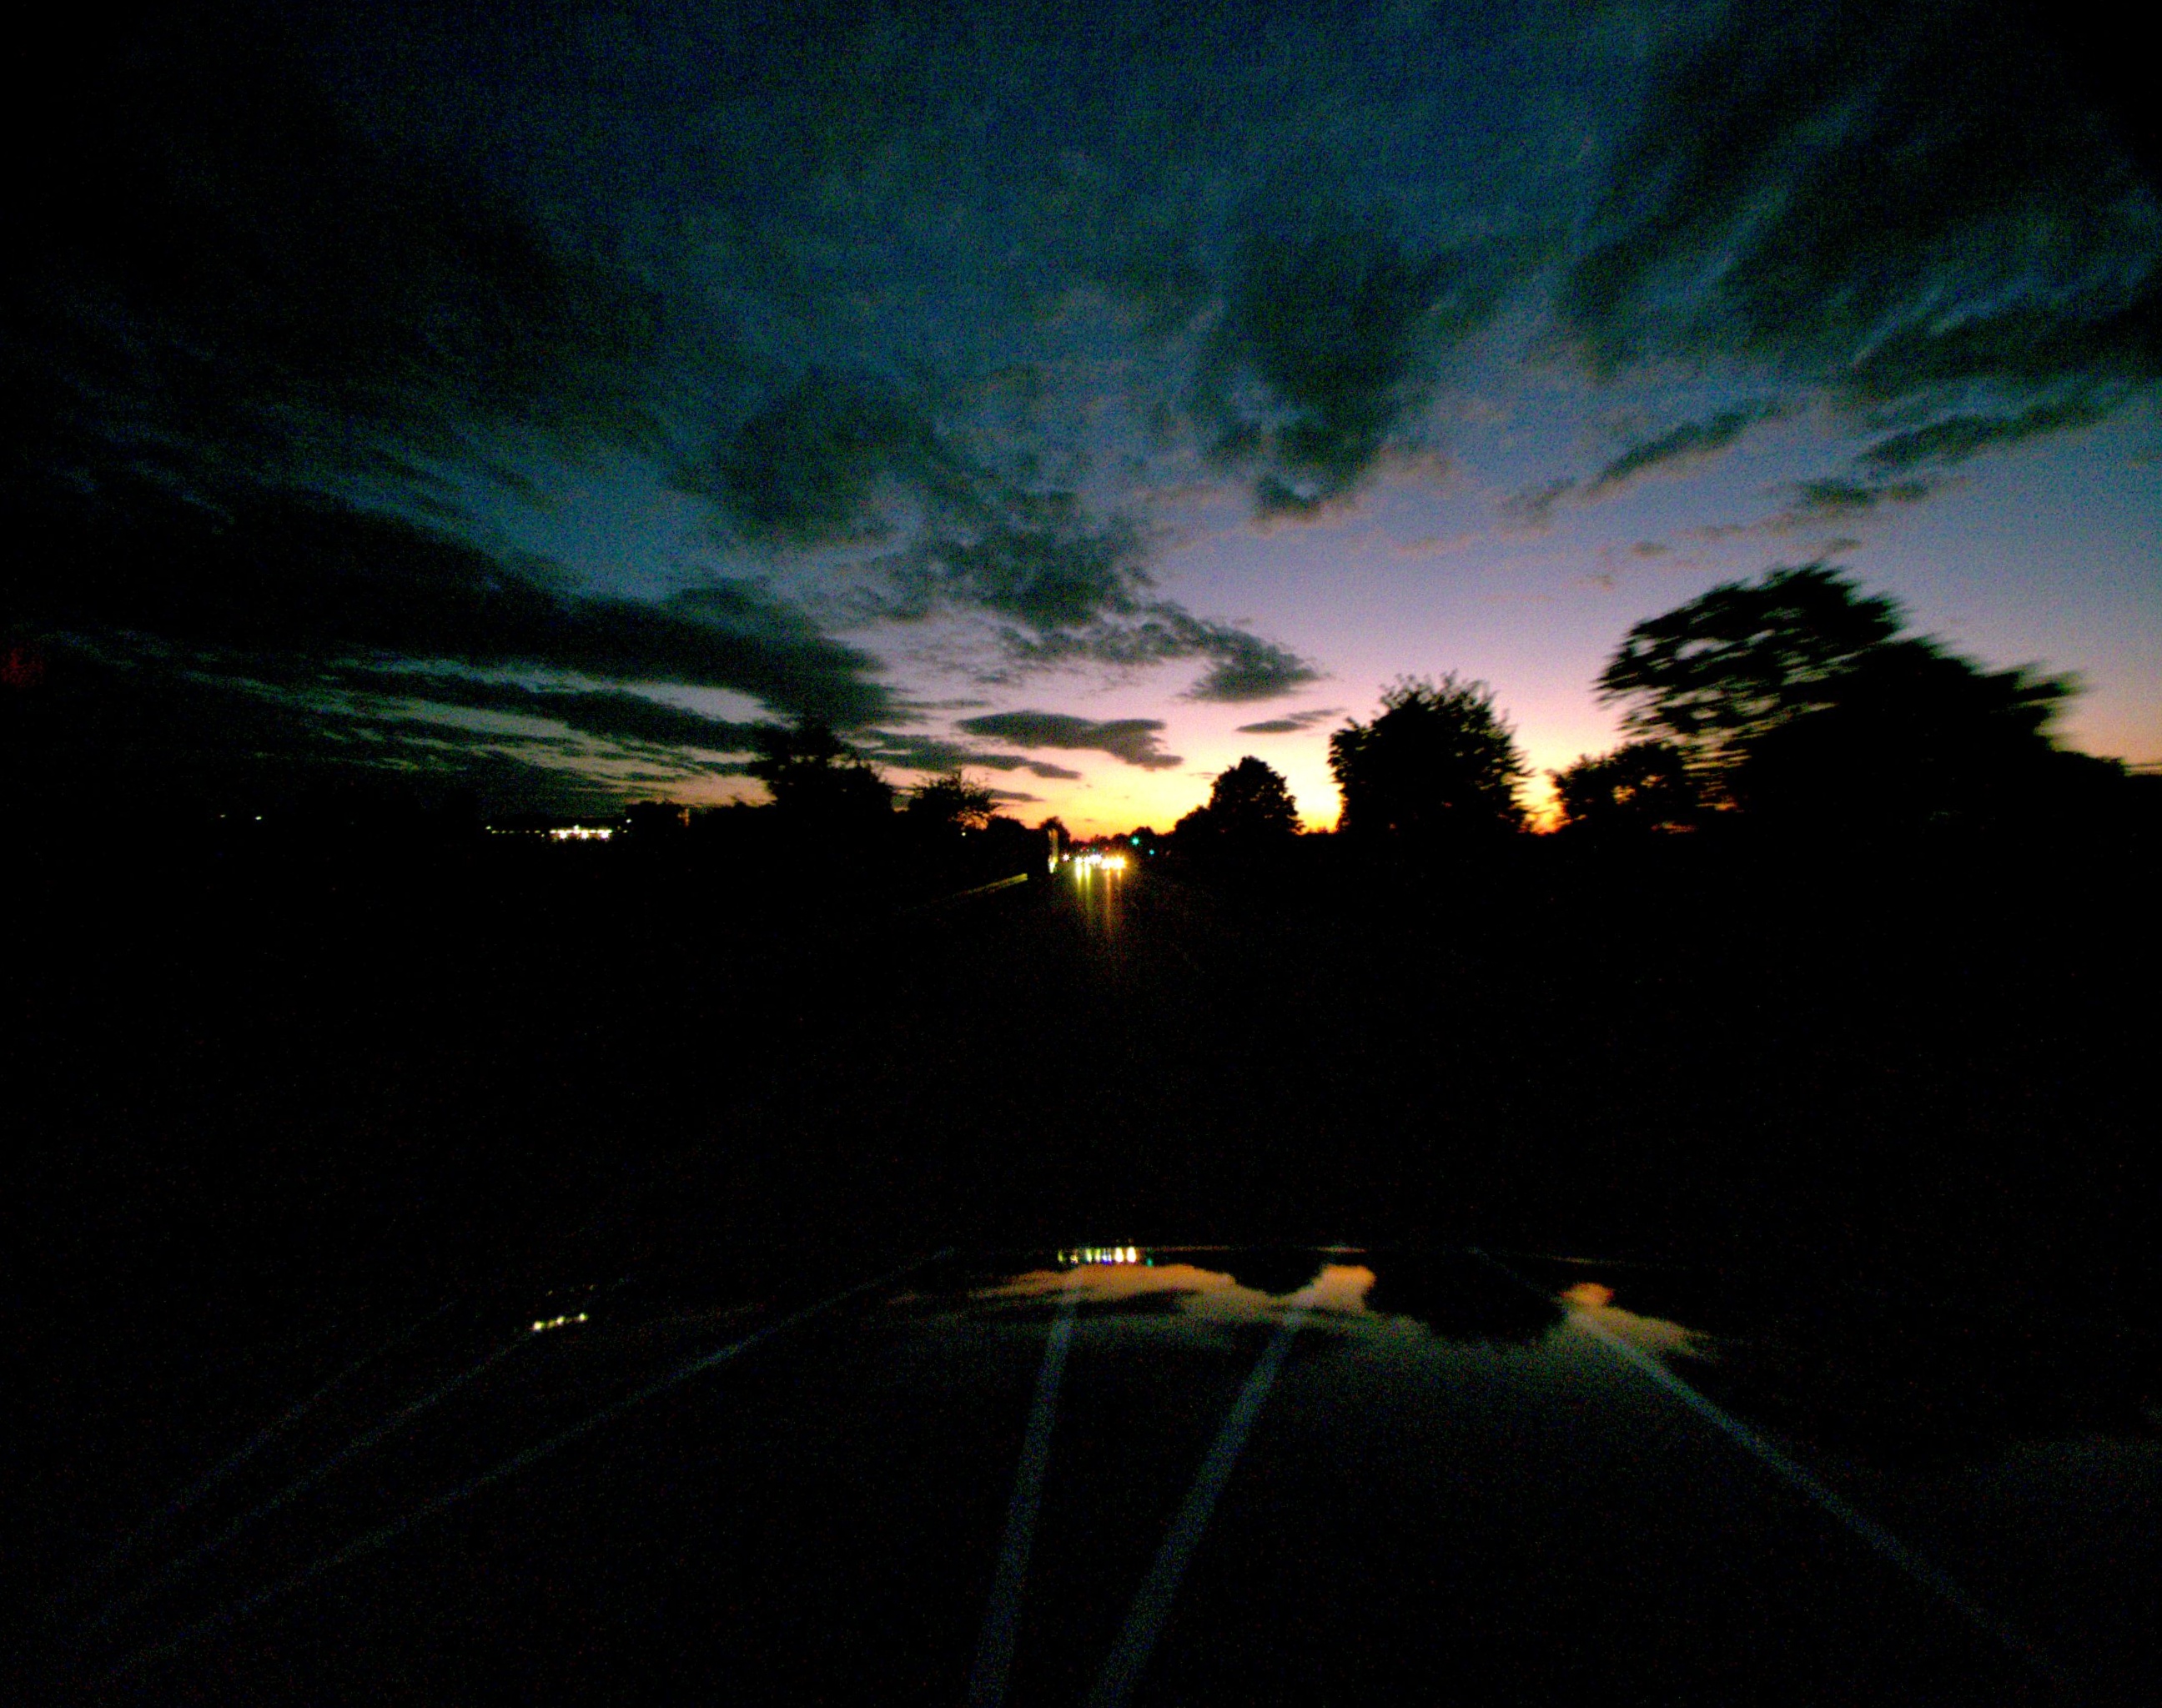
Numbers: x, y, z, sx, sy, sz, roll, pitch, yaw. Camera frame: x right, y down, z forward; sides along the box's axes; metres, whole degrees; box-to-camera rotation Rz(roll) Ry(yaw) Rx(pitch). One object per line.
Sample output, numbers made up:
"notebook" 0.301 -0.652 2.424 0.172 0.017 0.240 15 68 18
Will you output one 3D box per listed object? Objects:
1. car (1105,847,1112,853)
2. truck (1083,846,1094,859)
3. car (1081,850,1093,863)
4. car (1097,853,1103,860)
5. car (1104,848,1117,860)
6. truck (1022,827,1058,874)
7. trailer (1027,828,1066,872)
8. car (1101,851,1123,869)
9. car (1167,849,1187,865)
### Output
"car" 8.903 -1.275 243.987 1.999 2.002 3.999 -2 1 0
"truck" 2.379 -0.499 239.508 3.016 3.674 9.057 -2 1 0
"car" 0.911 0.377 119.707 1.741 2.002 4.000 -2 0 0
"car" 6.001 0.718 240.886 1.998 2.002 4.000 -2 1 2
"car" 4.651 -0.020 121.008 1.998 1.778 4.000 -2 1 1
"truck" -3.462 -0.307 65.627 2.490 3.778 5.498 -2 1 2
"trailer" -3.167 -0.388 73.175 2.474 3.789 12.672 -2 1 2
"car" 3.104 0.573 76.810 1.999 1.635 4.296 -2 1 -1
"car" 13.645 0.366 108.206 1.970 2.087 5.346 -2 1 0
